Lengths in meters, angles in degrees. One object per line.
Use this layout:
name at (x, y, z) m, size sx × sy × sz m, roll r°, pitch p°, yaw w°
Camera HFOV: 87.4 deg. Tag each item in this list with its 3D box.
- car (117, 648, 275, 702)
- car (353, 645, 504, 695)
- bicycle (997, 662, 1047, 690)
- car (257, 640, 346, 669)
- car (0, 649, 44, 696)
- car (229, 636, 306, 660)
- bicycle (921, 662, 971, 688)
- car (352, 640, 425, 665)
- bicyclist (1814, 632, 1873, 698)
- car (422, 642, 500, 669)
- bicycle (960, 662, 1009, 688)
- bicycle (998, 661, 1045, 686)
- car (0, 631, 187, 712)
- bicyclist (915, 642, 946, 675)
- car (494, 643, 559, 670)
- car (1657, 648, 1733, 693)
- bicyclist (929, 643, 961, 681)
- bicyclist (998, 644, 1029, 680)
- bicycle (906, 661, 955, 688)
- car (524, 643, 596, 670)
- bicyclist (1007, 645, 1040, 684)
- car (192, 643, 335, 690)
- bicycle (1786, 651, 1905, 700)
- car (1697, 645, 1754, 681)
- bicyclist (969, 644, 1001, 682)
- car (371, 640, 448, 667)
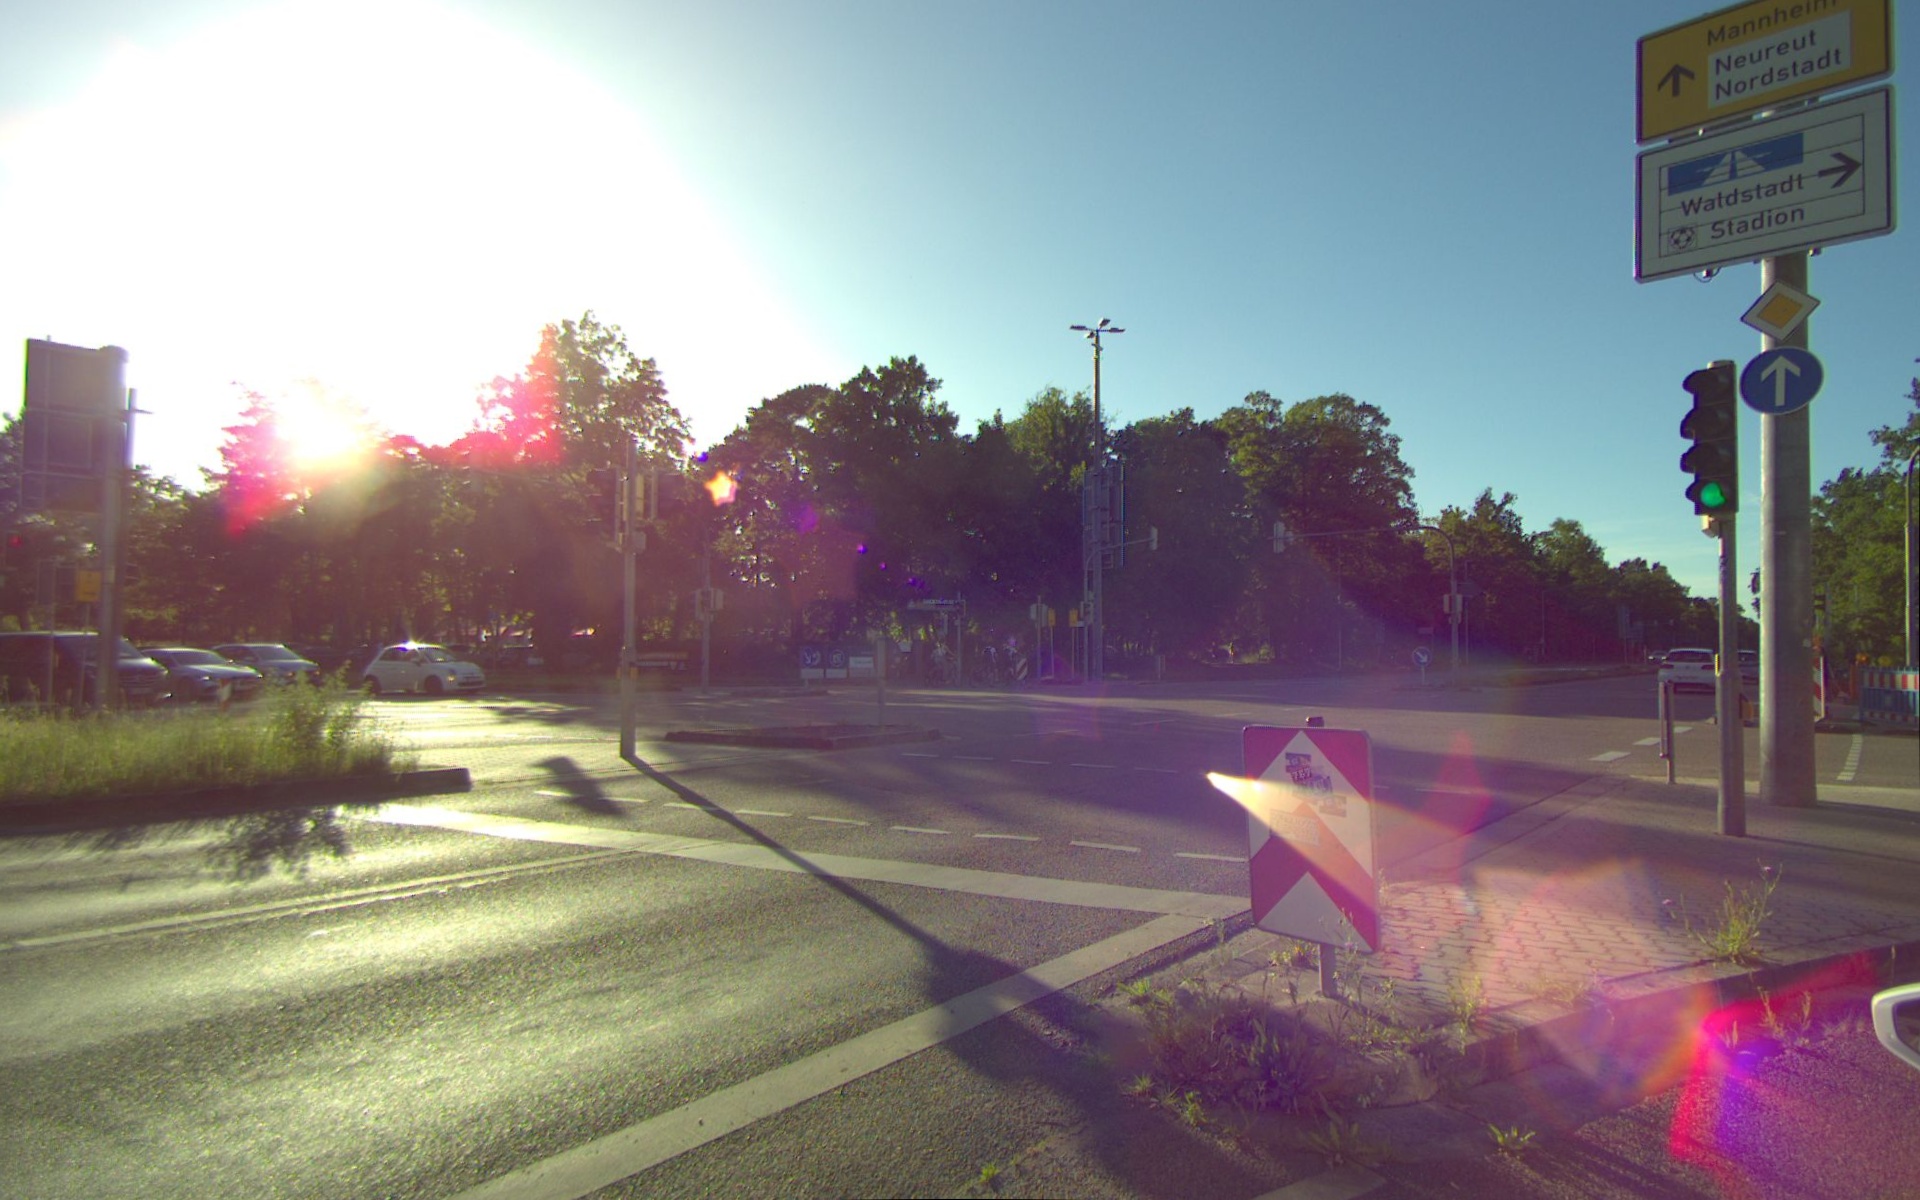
car at (-21.305, 2.048, 28.028) m, size 3.724 × 1.407 × 1.649 m, roll 0°, pitch -3°, yaw 18°
car at (-15.899, 2.057, 30.101) m, size 3.724 × 1.407 × 1.929 m, roll 0°, pitch -3°, yaw 18°
bicycle at (2.218, 2.710, 35.961) m, size 1.898 × 0.926 × 0.708 m, roll 3°, pitch -3°, yaw -44°
car at (-39.021, 3.245, 59.611) m, size 1.907 × 1.640 × 3.996 m, roll -1°, pitch -3°, yaw 27°
car at (-30.691, 2.219, 31.064) m, size 3.724 × 1.407 × 1.855 m, roll 0°, pitch -3°, yaw 18°
car at (-47.806, 3.293, 69.401) m, size 1.782 × 1.620 × 3.964 m, roll -1°, pitch -3°, yaw 30°
bicycle at (-0.525, 2.804, 37.560) m, size 1.898 × 0.926 × 0.708 m, roll 3°, pitch -3°, yaw -44°
car at (-38.827, 3.543, 68.299) m, size 1.782 × 1.620 × 3.964 m, roll -1°, pitch -3°, yaw 30°
bicyclist at (27.042, 1.977, 30.774) m, size 0.995 × 1.955 × 0.969 m, roll 1°, pitch -1°, yaw 11°
car at (-31.895, 3.526, 64.339) m, size 1.782 × 1.620 × 4.143 m, roll -1°, pitch -3°, yaw 30°
bicycle at (0.932, 2.766, 37.310) m, size 1.898 × 0.926 × 0.708 m, roll 3°, pitch -3°, yaw -44°
bicycle at (2.392, 2.840, 38.788) m, size 1.898 × 0.926 × 0.708 m, roll 3°, pitch -3°, yaw -44°
car at (-21.928, 1.715, 24.907) m, size 4.835 × 1.853 × 1.929 m, roll 0°, pitch -3°, yaw 18°
bicyclist at (-1.116, 2.223, 38.266) m, size 0.984 × 1.208 × 0.708 m, roll 3°, pitch -3°, yaw -44°
car at (-27.137, 3.498, 63.037) m, size 1.778 × 1.620 × 3.502 m, roll 0°, pitch -3°, yaw 21°
car at (25.046, 2.360, 34.180) m, size 1.917 × 1.433 × 3.983 m, roll -2°, pitch -3°, yaw 39°
bicyclist at (-0.549, 2.315, 37.557) m, size 0.984 × 1.408 × 0.704 m, roll 3°, pitch -3°, yaw -44°
bicyclist at (2.068, 2.377, 38.487) m, size 0.984 × 1.359 × 0.708 m, roll 3°, pitch -3°, yaw -44°
bicycle at (-1.119, 2.822, 38.242) m, size 1.898 × 0.926 × 0.708 m, roll 2°, pitch -3°, yaw -44°
car at (-24.723, 3.491, 62.291) m, size 1.778 × 1.620 × 4.197 m, roll 0°, pitch -3°, yaw 20°
bicyclist at (2.265, 2.314, 36.015) m, size 0.984 × 1.356 × 0.708 m, roll 3°, pitch -3°, yaw -44°
car at (-22.304, 2.100, 32.194) m, size 3.724 × 1.407 × 1.855 m, roll 0°, pitch -3°, yaw 18°
bicycle at (27.064, 2.292, 30.754) m, size 2.586 × 1.401 × 0.969 m, roll 1°, pitch -1°, yaw 11°
car at (35.488, 2.886, 46.545) m, size 1.969 × 1.556 × 3.983 m, roll -2°, pitch -3°, yaw 39°
bicyclist at (0.933, 2.326, 37.322) m, size 0.984 × 1.373 × 0.708 m, roll 3°, pitch -3°, yaw -44°
car at (-35.477, 3.439, 64.805) m, size 1.782 × 1.620 × 3.964 m, roll -1°, pitch -3°, yaw 30°
